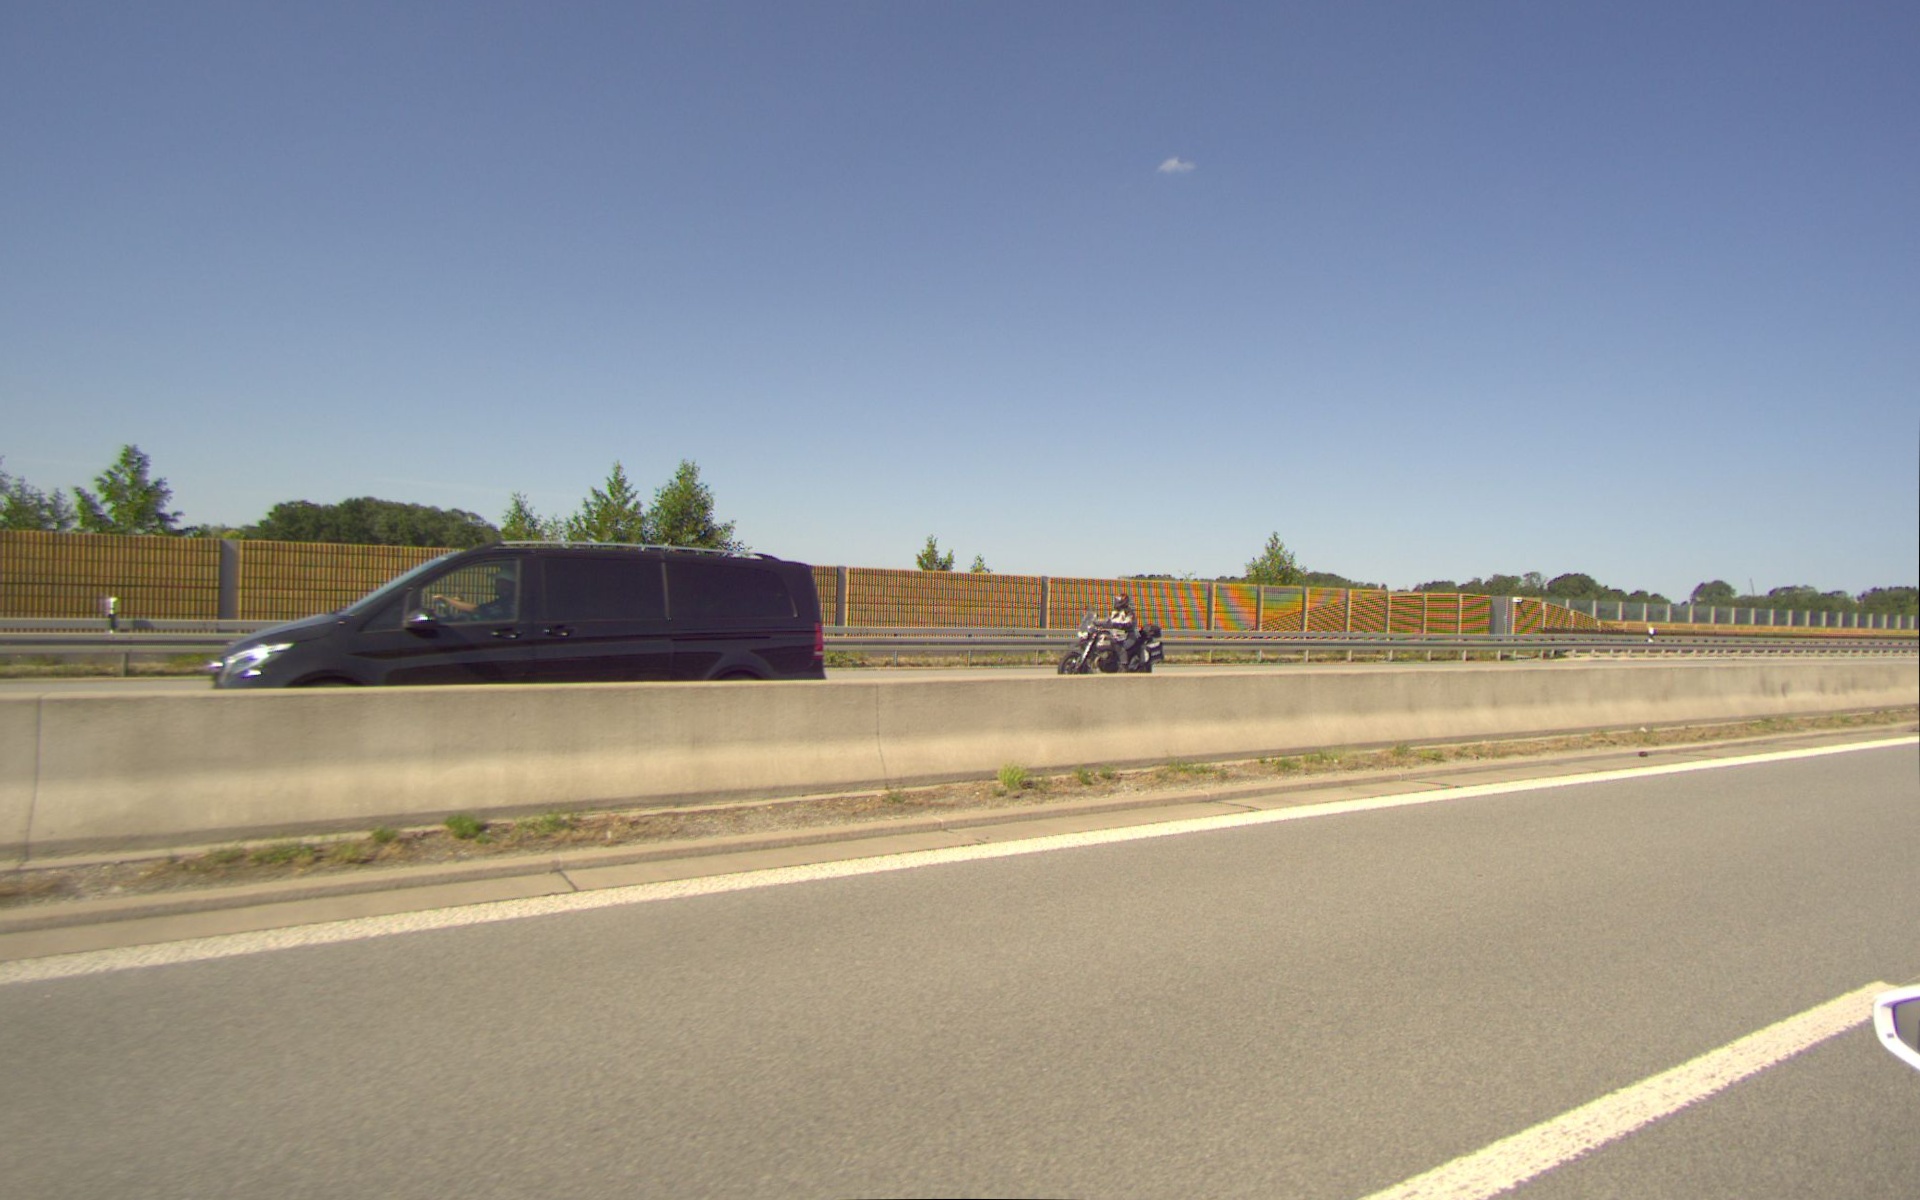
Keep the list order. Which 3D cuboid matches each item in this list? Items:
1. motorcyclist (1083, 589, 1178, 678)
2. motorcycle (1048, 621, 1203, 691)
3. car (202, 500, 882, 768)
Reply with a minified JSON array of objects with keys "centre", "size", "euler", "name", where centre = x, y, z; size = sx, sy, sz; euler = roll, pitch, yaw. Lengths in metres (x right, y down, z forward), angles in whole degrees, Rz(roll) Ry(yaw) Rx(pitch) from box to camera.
[{"centre":[3.159,0.611,18.632],"size":[1.411,1.584,1.007],"euler":[2,0,-30],"name":"motorcyclist"},{"centre":[3.087,1.011,18.590],"size":[2.834,1.183,1.008],"euler":[1,0,-30],"name":"motorcycle"},{"centre":[-3.771,0.332,9.930],"size":[5.670,2.040,1.984],"euler":[2,0,-30],"name":"car"}]
